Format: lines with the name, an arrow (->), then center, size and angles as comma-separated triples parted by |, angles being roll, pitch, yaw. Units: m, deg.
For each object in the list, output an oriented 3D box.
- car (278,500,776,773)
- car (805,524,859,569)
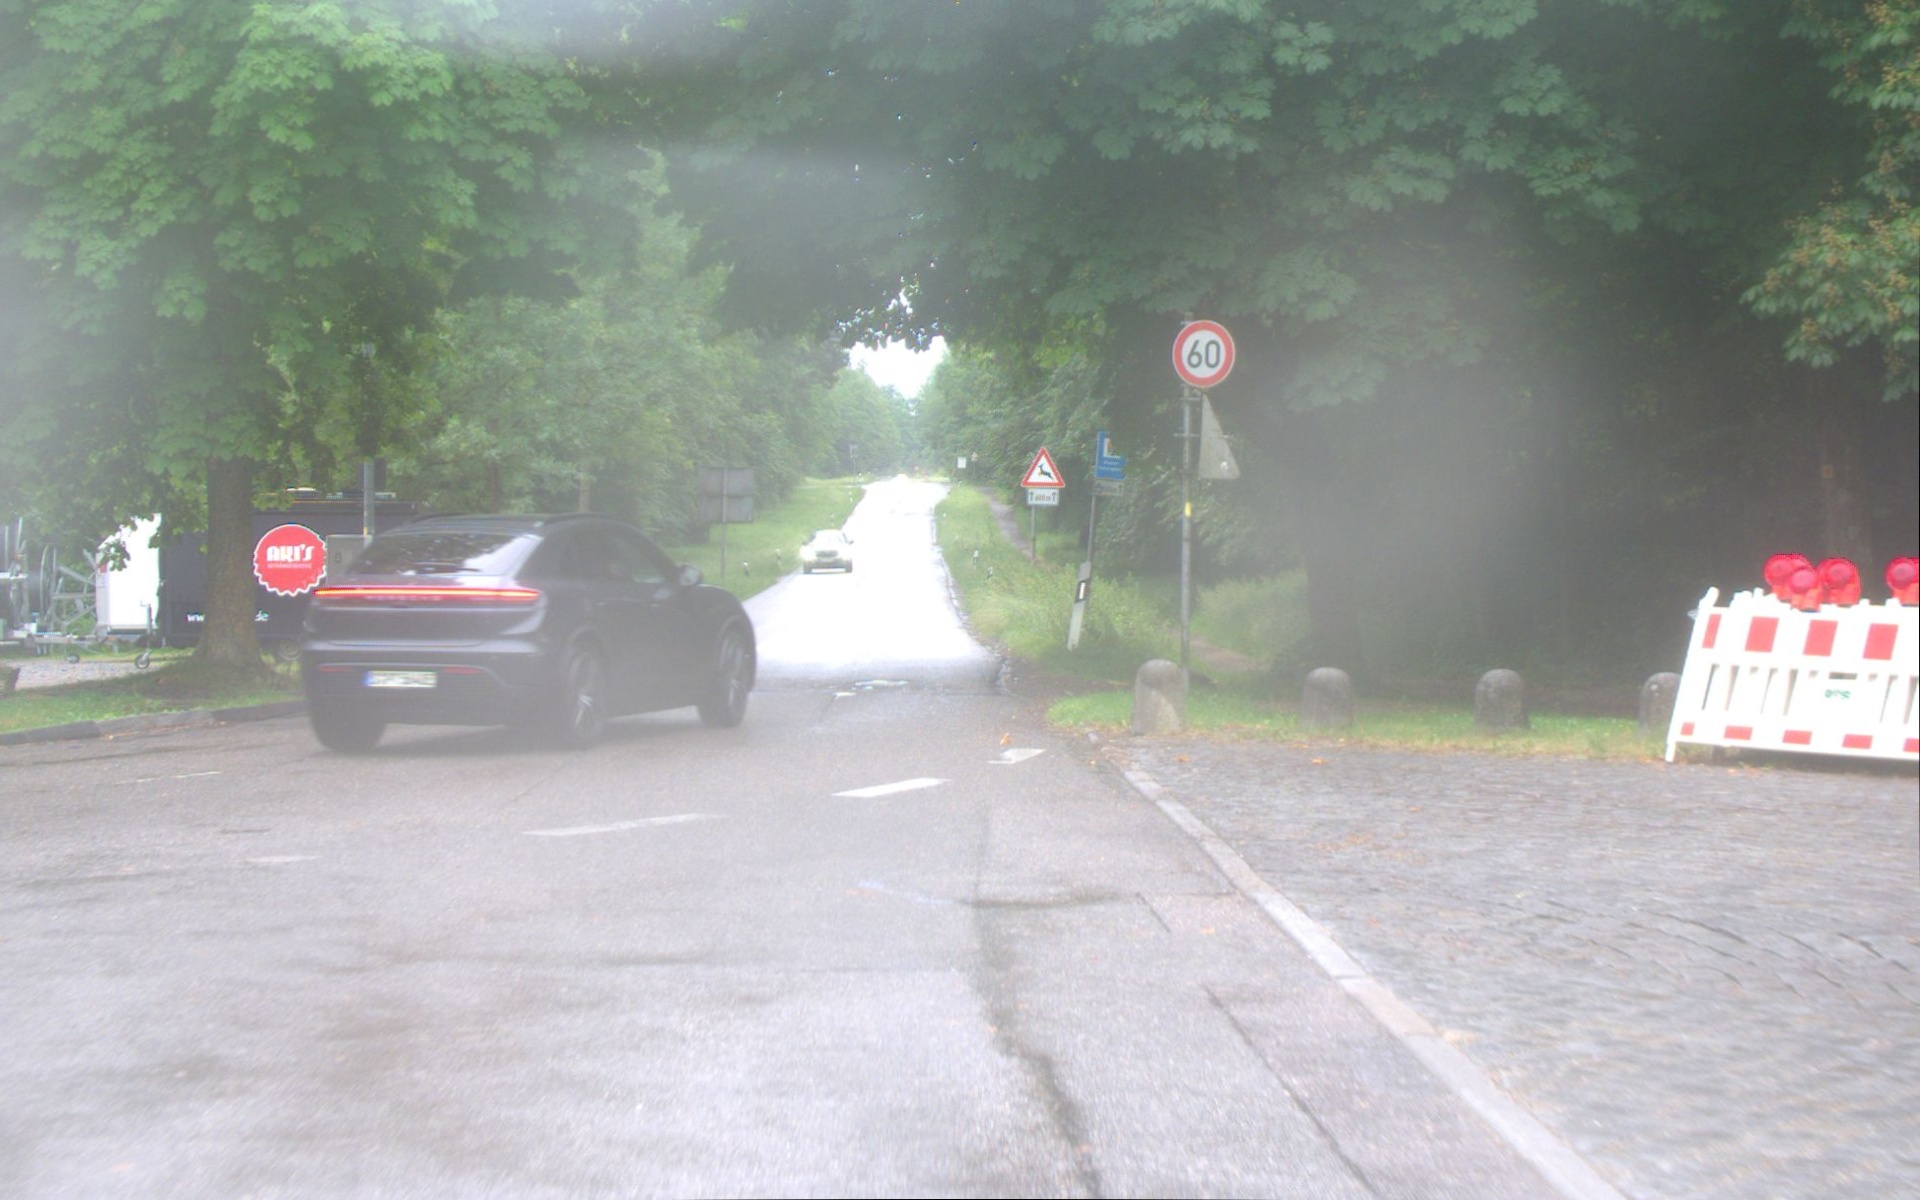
car -> -2.972, 0.181, 24.686 | 1.727, 1.703, 4.571 | -1, 2, 18
car -> -4.925, -2.089, 132.823 | 1.993, 1.711, 4.000 | 0, 1, -1
